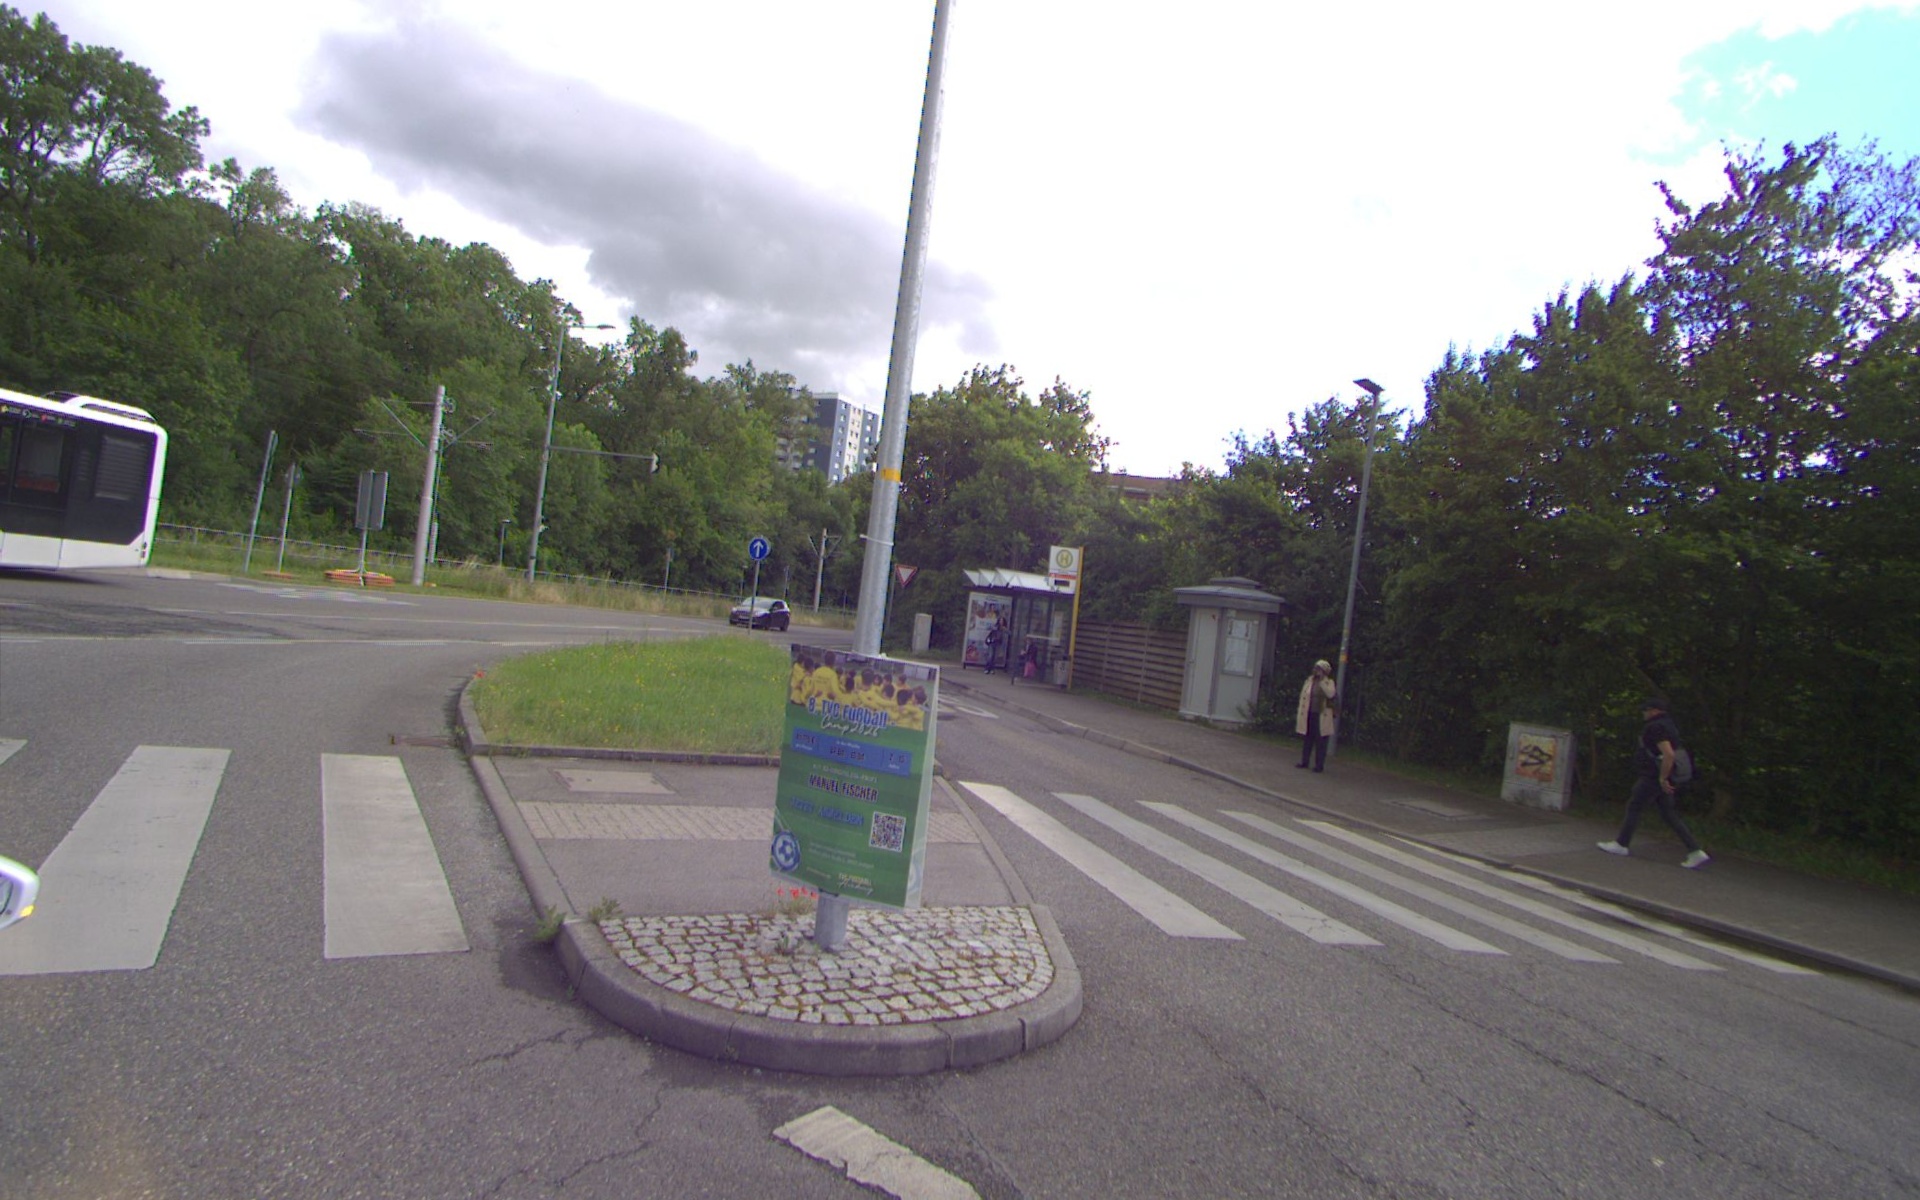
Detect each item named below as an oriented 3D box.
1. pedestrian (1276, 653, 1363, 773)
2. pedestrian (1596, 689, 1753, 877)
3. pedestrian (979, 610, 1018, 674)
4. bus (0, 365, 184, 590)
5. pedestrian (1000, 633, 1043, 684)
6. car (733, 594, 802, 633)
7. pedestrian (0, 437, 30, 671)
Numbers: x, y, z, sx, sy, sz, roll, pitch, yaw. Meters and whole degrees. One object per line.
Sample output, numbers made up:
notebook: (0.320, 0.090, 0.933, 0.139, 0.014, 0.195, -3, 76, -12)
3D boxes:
pedestrian: (5.316, 1.666, 14.903, 0.678, 1.614, 0.767, 7, 1, -23)
pedestrian: (7.861, 1.995, 11.097, 0.848, 1.844, 0.977, 7, 0, -29)
pedestrian: (1.075, 1.168, 28.109, 0.758, 1.669, 0.686, 7, 0, -10)
bus: (-16.391, -2.229, 12.301, 2.624, 3.240, 12.211, 7, -1, 9)
pedestrian: (1.592, 1.509, 26.135, 0.740, 1.184, 0.768, 7, 0, -20)
car: (-8.897, 0.661, 46.878, 1.728, 1.451, 4.433, 8, -1, 8)
pedestrian: (-7.175, -0.304, 6.763, 1.044, 1.767, 0.956, 7, -1, 31)
